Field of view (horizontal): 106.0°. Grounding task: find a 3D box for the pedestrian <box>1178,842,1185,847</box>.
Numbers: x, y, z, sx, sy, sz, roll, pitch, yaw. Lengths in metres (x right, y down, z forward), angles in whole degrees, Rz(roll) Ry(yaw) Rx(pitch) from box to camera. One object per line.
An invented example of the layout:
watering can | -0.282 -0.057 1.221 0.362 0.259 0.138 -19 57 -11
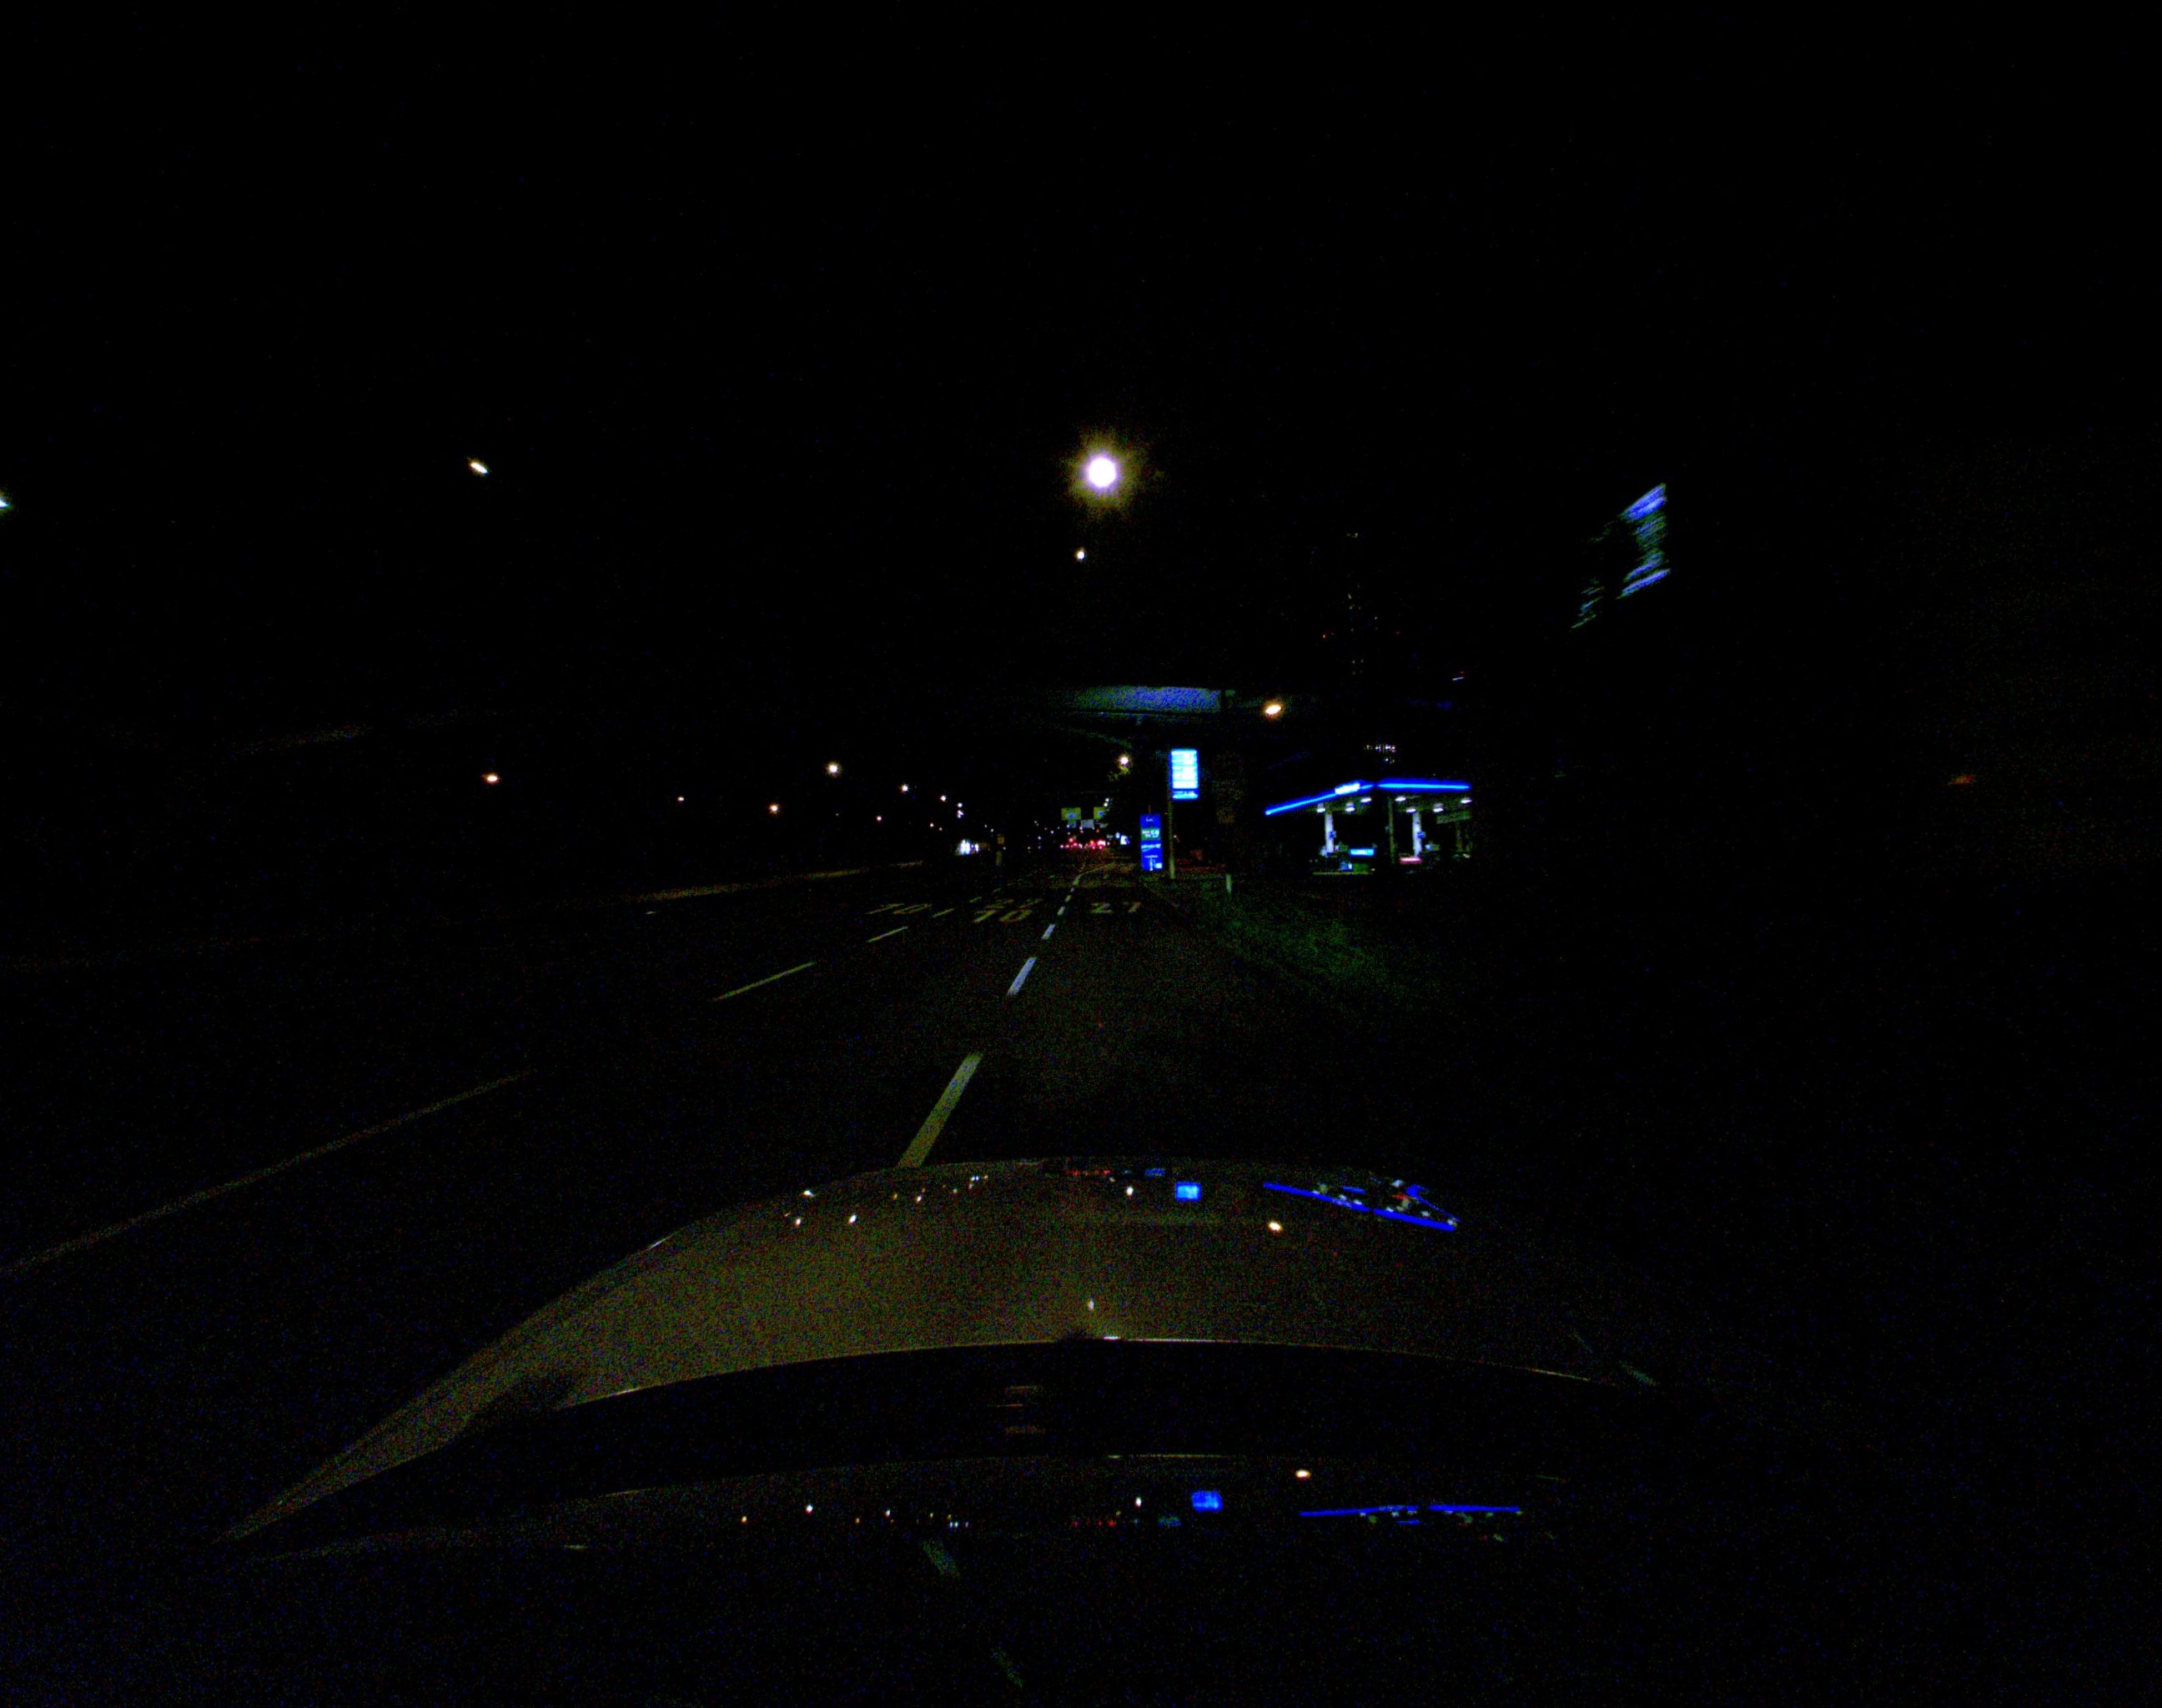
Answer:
pedestrian | 17.730 -1.675 143.231 0.999 1.008 0.768 0 -1 -15

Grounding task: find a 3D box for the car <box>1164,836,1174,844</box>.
car | 18.635 -2.984 172.480 1.882 1.511 3.644 0 -1 8

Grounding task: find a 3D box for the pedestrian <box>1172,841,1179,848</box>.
pedestrian | 16.571 -1.655 143.108 0.902 1.038 0.776 -2 0 44

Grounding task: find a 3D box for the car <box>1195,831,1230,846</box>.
car | 15.383 -1.842 95.060 3.714 1.489 1.741 -4 -1 -1

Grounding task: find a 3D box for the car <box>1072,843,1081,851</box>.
car | -1.116 -1.685 196.025 1.779 1.711 3.994 0 -1 -4

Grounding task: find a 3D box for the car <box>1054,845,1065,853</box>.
car | -4.495 -1.039 171.463 1.960 1.711 4.003 0 -1 3

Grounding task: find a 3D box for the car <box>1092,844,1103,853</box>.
car | 3.301 -1.115 162.332 1.960 1.711 4.003 0 -1 3

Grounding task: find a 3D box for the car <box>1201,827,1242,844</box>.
car | 15.075 -2.027 87.792 4.103 1.522 1.823 -3 -1 2

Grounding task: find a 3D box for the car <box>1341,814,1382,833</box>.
car | 30.172 -3.226 87.629 3.800 1.895 1.751 -1 -1 -3

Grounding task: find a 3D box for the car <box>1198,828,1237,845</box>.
car | 15.137 -1.973 90.262 3.971 1.571 1.739 -4 -1 2
